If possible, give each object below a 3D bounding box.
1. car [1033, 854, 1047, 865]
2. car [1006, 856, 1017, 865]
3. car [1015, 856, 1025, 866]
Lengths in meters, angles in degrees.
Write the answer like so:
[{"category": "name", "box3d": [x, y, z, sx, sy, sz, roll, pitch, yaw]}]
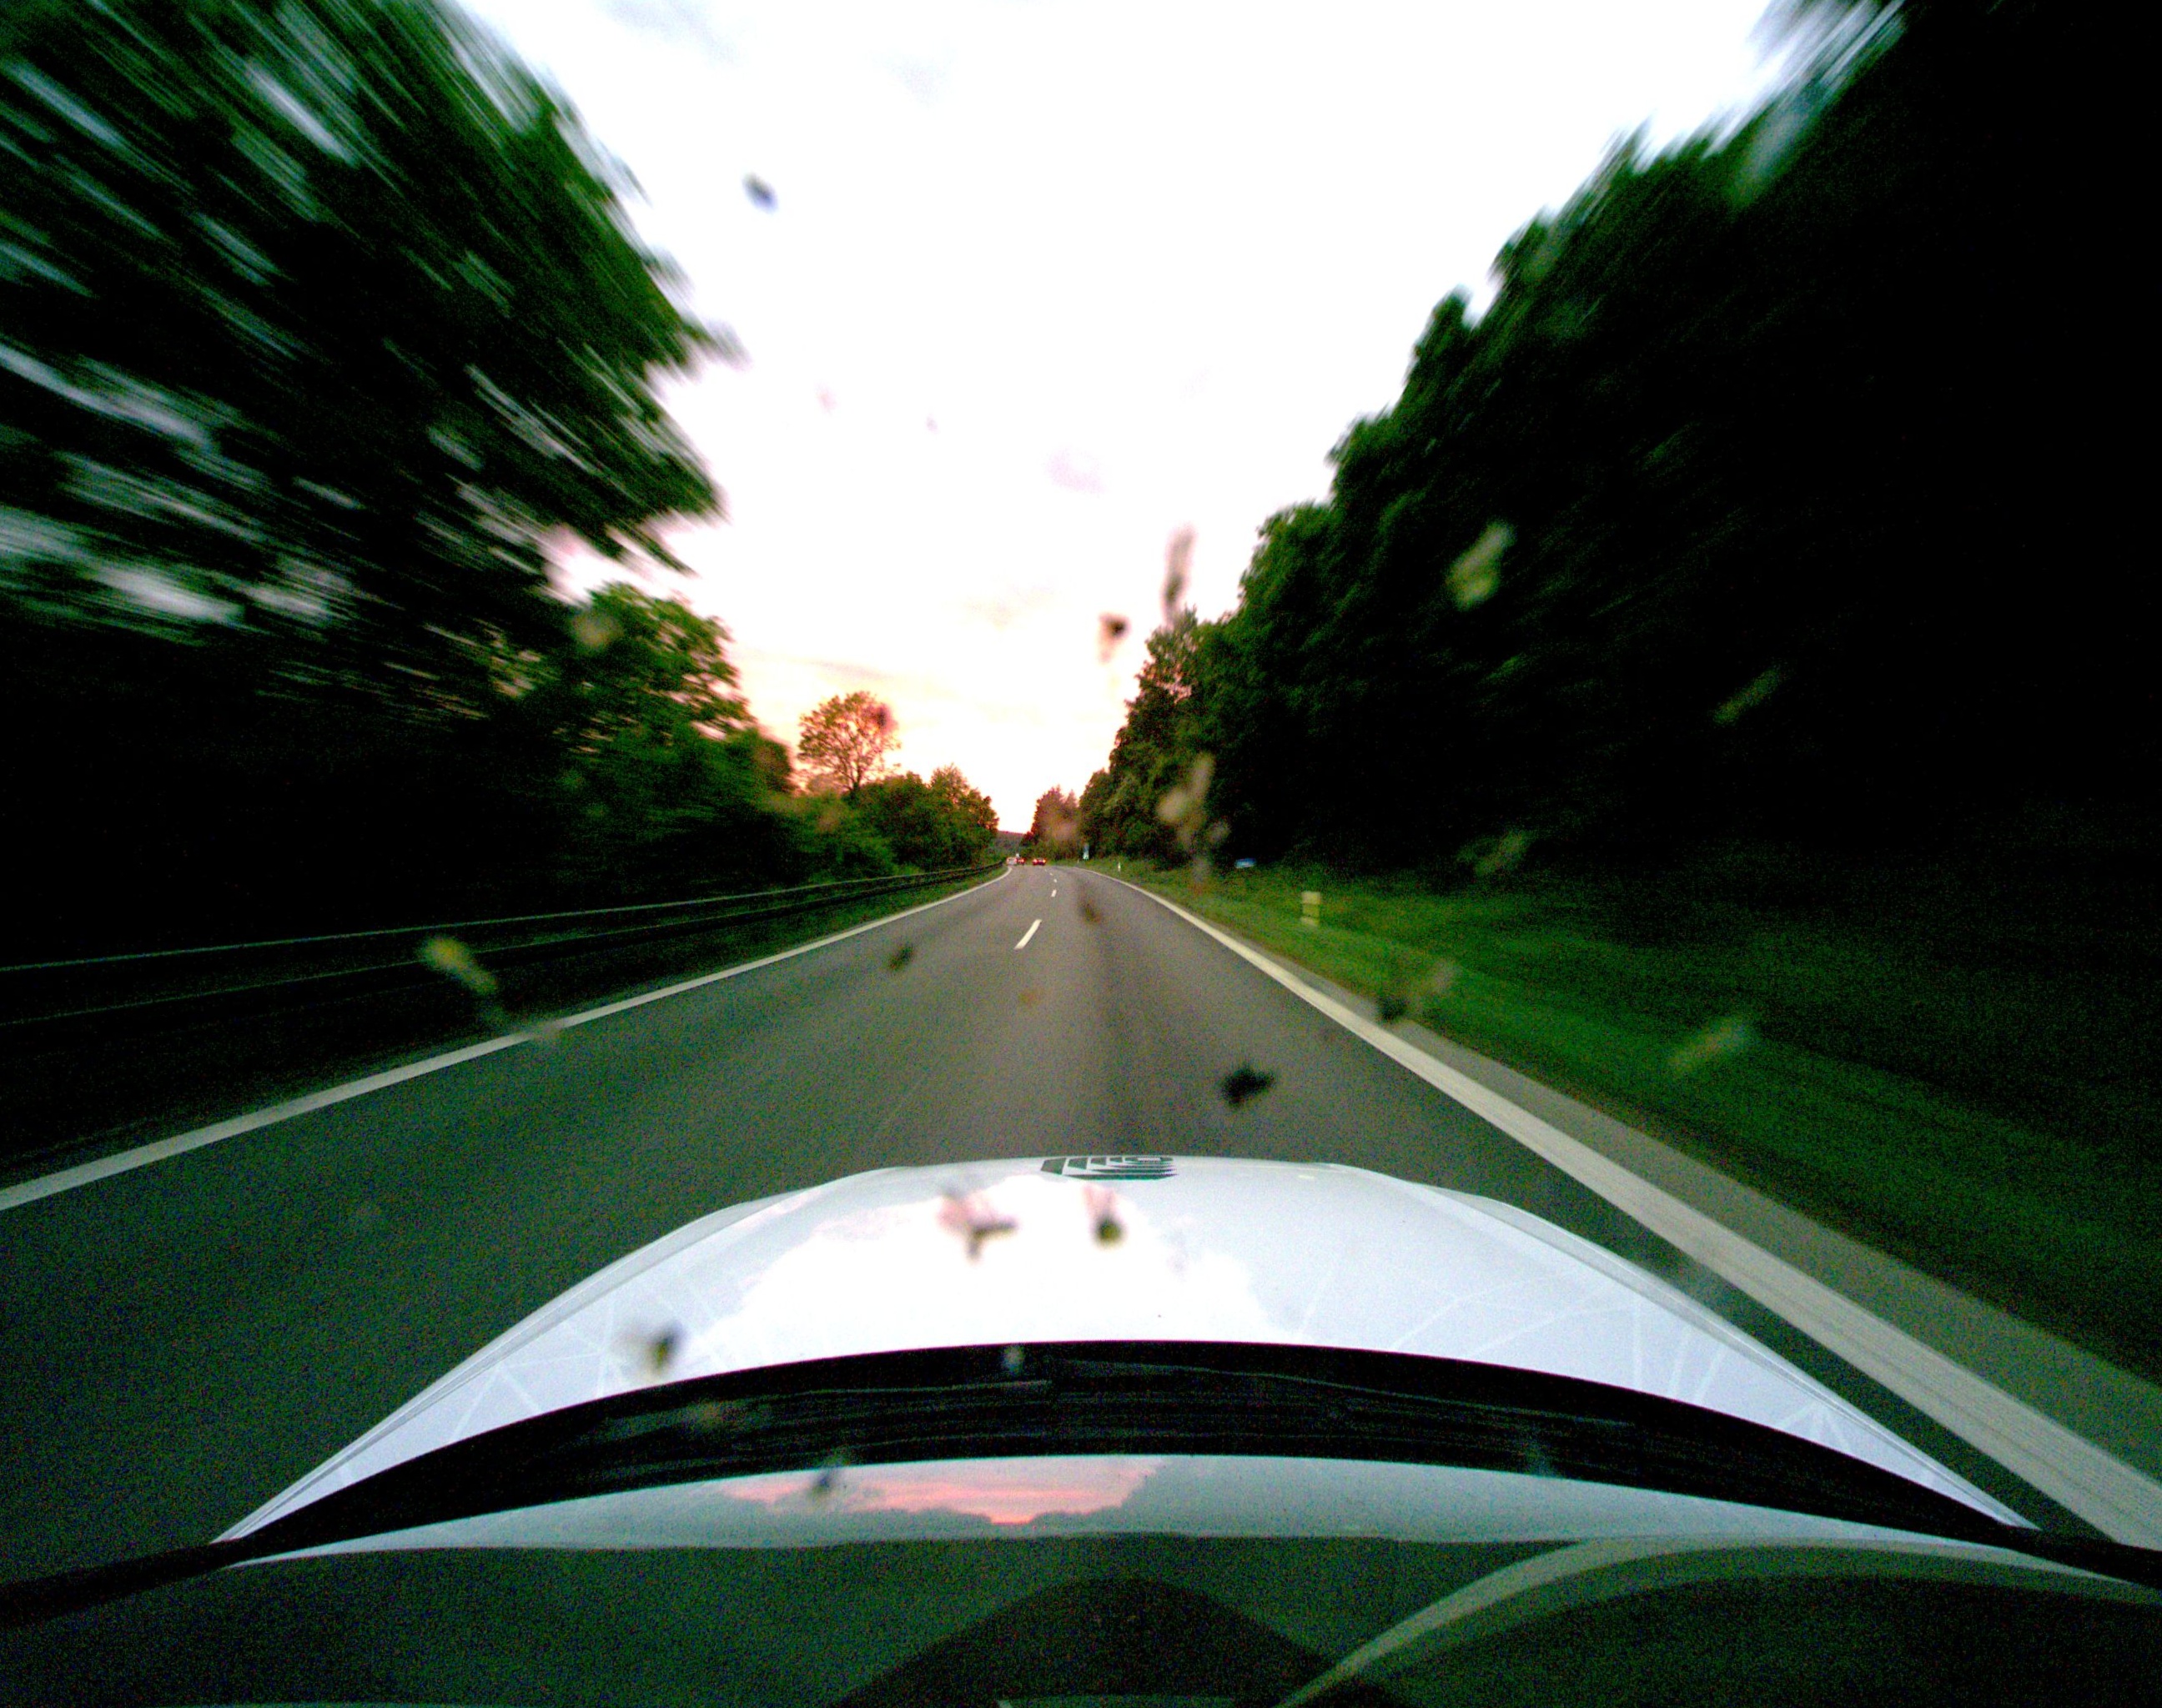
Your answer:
[{"category": "car", "box3d": [-6.942, 0.908, 136.624, 1.991, 1.646, 3.990, 3, -4, -6]}, {"category": "car", "box3d": [-12.245, 1.207, 143.783, 1.714, 1.501, 3.996, 1, -2, -2]}, {"category": "car", "box3d": [-11.605, 1.371, 155.080, 1.715, 1.635, 3.994, -3, -1, -4]}]
